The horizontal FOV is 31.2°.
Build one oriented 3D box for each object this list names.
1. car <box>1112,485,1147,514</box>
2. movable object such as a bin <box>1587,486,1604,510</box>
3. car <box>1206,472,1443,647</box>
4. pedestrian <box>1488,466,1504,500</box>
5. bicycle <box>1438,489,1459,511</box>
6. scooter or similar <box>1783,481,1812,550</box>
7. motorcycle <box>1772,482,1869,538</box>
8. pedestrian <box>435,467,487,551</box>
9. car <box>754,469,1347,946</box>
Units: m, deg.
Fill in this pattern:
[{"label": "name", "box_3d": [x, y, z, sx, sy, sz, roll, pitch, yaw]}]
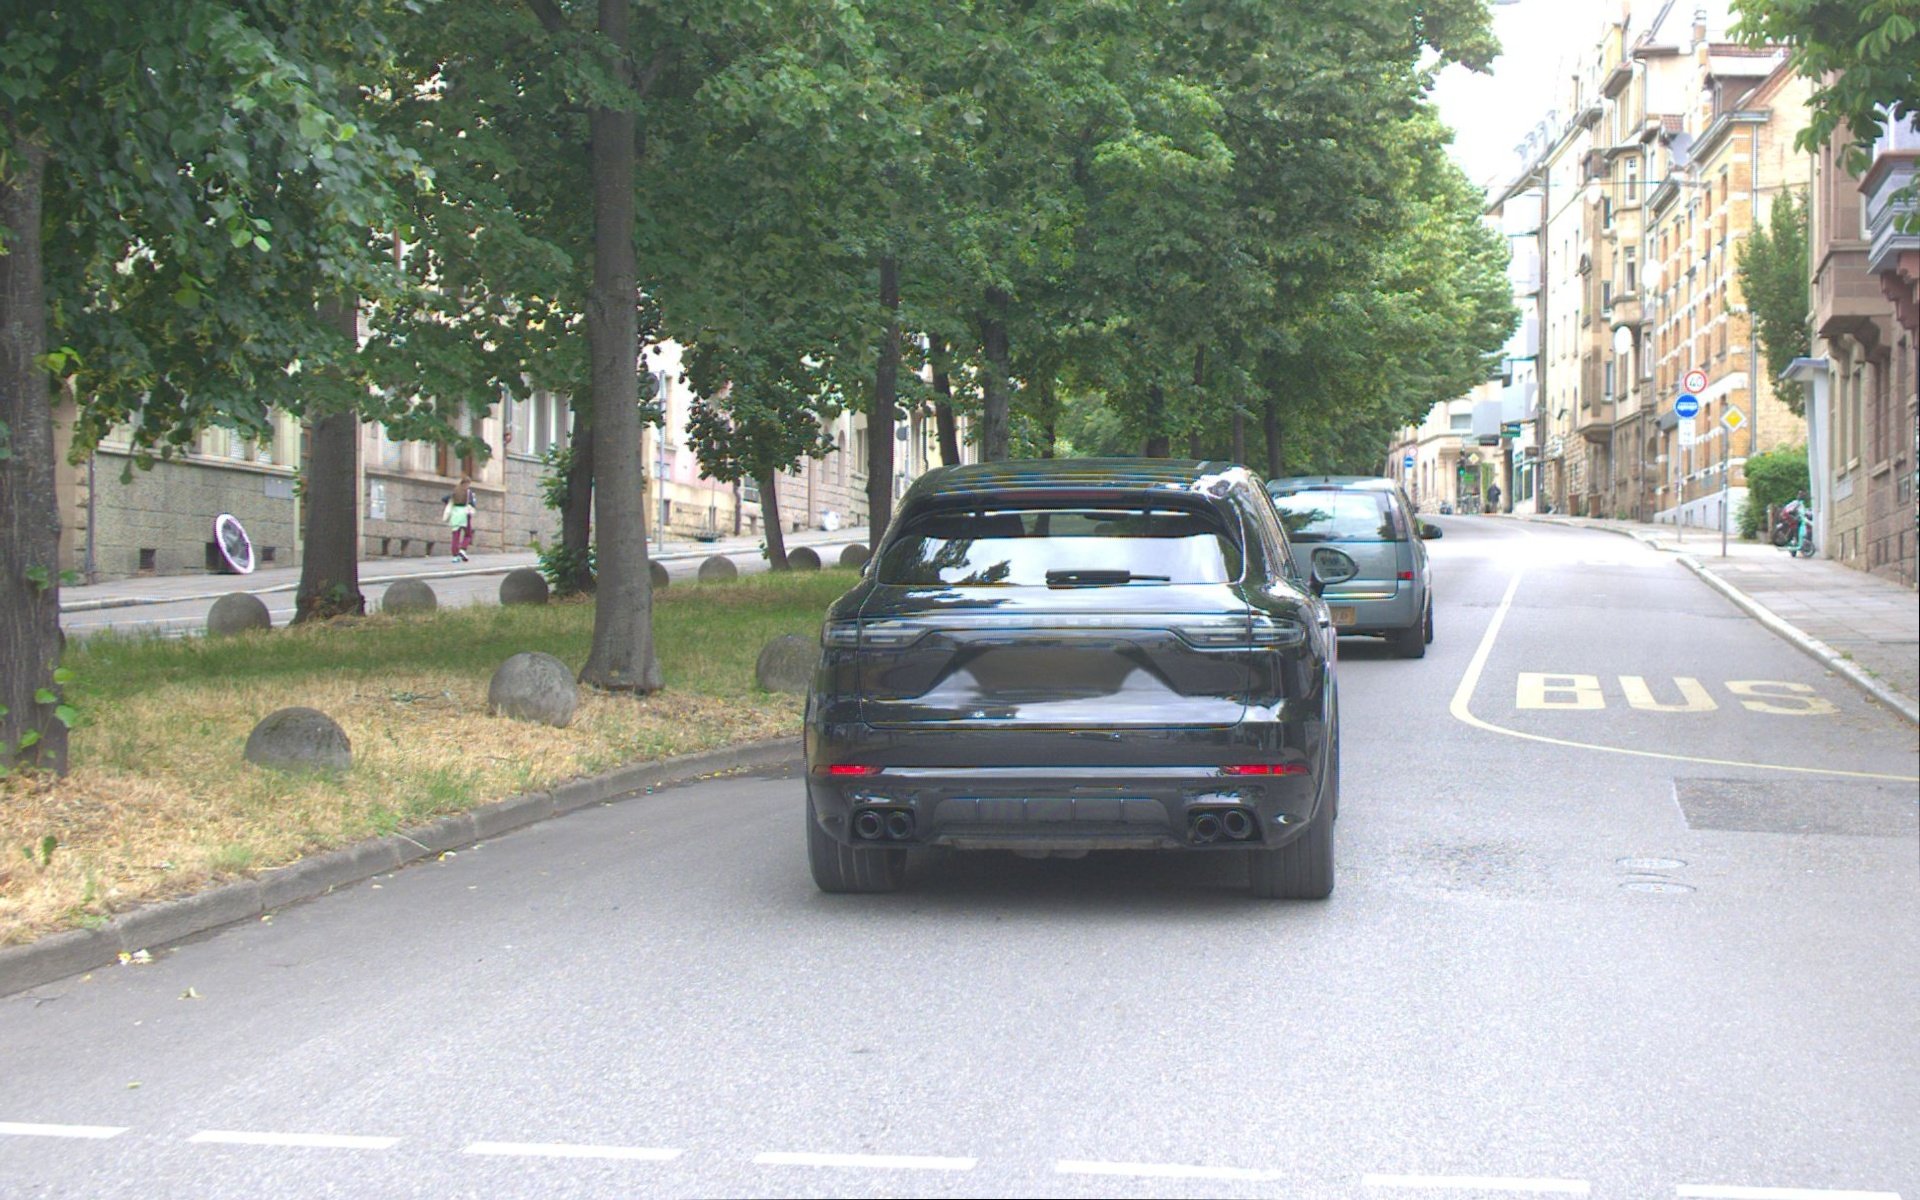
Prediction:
[{"label": "car", "box_3d": [8.772, -5.244, 178.619, 1.708, 1.377, 4.669, -1, 3, 2]}, {"label": "movable object such as a bin", "box_3d": [24.457, -3.935, 132.318, 0.594, 0.901, 0.563, 1, 1, 5]}, {"label": "car", "box_3d": [3.364, -0.374, 31.198, 1.764, 1.460, 3.590, 1, 1, 12]}, {"label": "pedestrian", "box_3d": [26.914, -5.861, 172.654, 0.751, 1.687, 0.858, 0, 0, 4]}, {"label": "bicycle", "box_3d": [27.355, -5.586, 192.508, 0.879, 1.125, 2.979, 1, 0, 2]}, {"label": "scooter or similar", "box_3d": [15.507, -1.566, 63.670, 0.410, 1.205, 1.145, -2, 4, 10]}, {"label": "motorcycle", "box_3d": [20.381, -2.137, 81.418, 2.056, 1.263, 1.010, 2, 2, 6]}, {"label": "pedestrian", "box_3d": [-8.802, -1.605, 60.684, 0.699, 1.455, 0.704, 1, 3, 11]}, {"label": "car", "box_3d": [0.527, 0.297, 14.048, 1.994, 1.660, 3.999, 0, 2, 8]}]
